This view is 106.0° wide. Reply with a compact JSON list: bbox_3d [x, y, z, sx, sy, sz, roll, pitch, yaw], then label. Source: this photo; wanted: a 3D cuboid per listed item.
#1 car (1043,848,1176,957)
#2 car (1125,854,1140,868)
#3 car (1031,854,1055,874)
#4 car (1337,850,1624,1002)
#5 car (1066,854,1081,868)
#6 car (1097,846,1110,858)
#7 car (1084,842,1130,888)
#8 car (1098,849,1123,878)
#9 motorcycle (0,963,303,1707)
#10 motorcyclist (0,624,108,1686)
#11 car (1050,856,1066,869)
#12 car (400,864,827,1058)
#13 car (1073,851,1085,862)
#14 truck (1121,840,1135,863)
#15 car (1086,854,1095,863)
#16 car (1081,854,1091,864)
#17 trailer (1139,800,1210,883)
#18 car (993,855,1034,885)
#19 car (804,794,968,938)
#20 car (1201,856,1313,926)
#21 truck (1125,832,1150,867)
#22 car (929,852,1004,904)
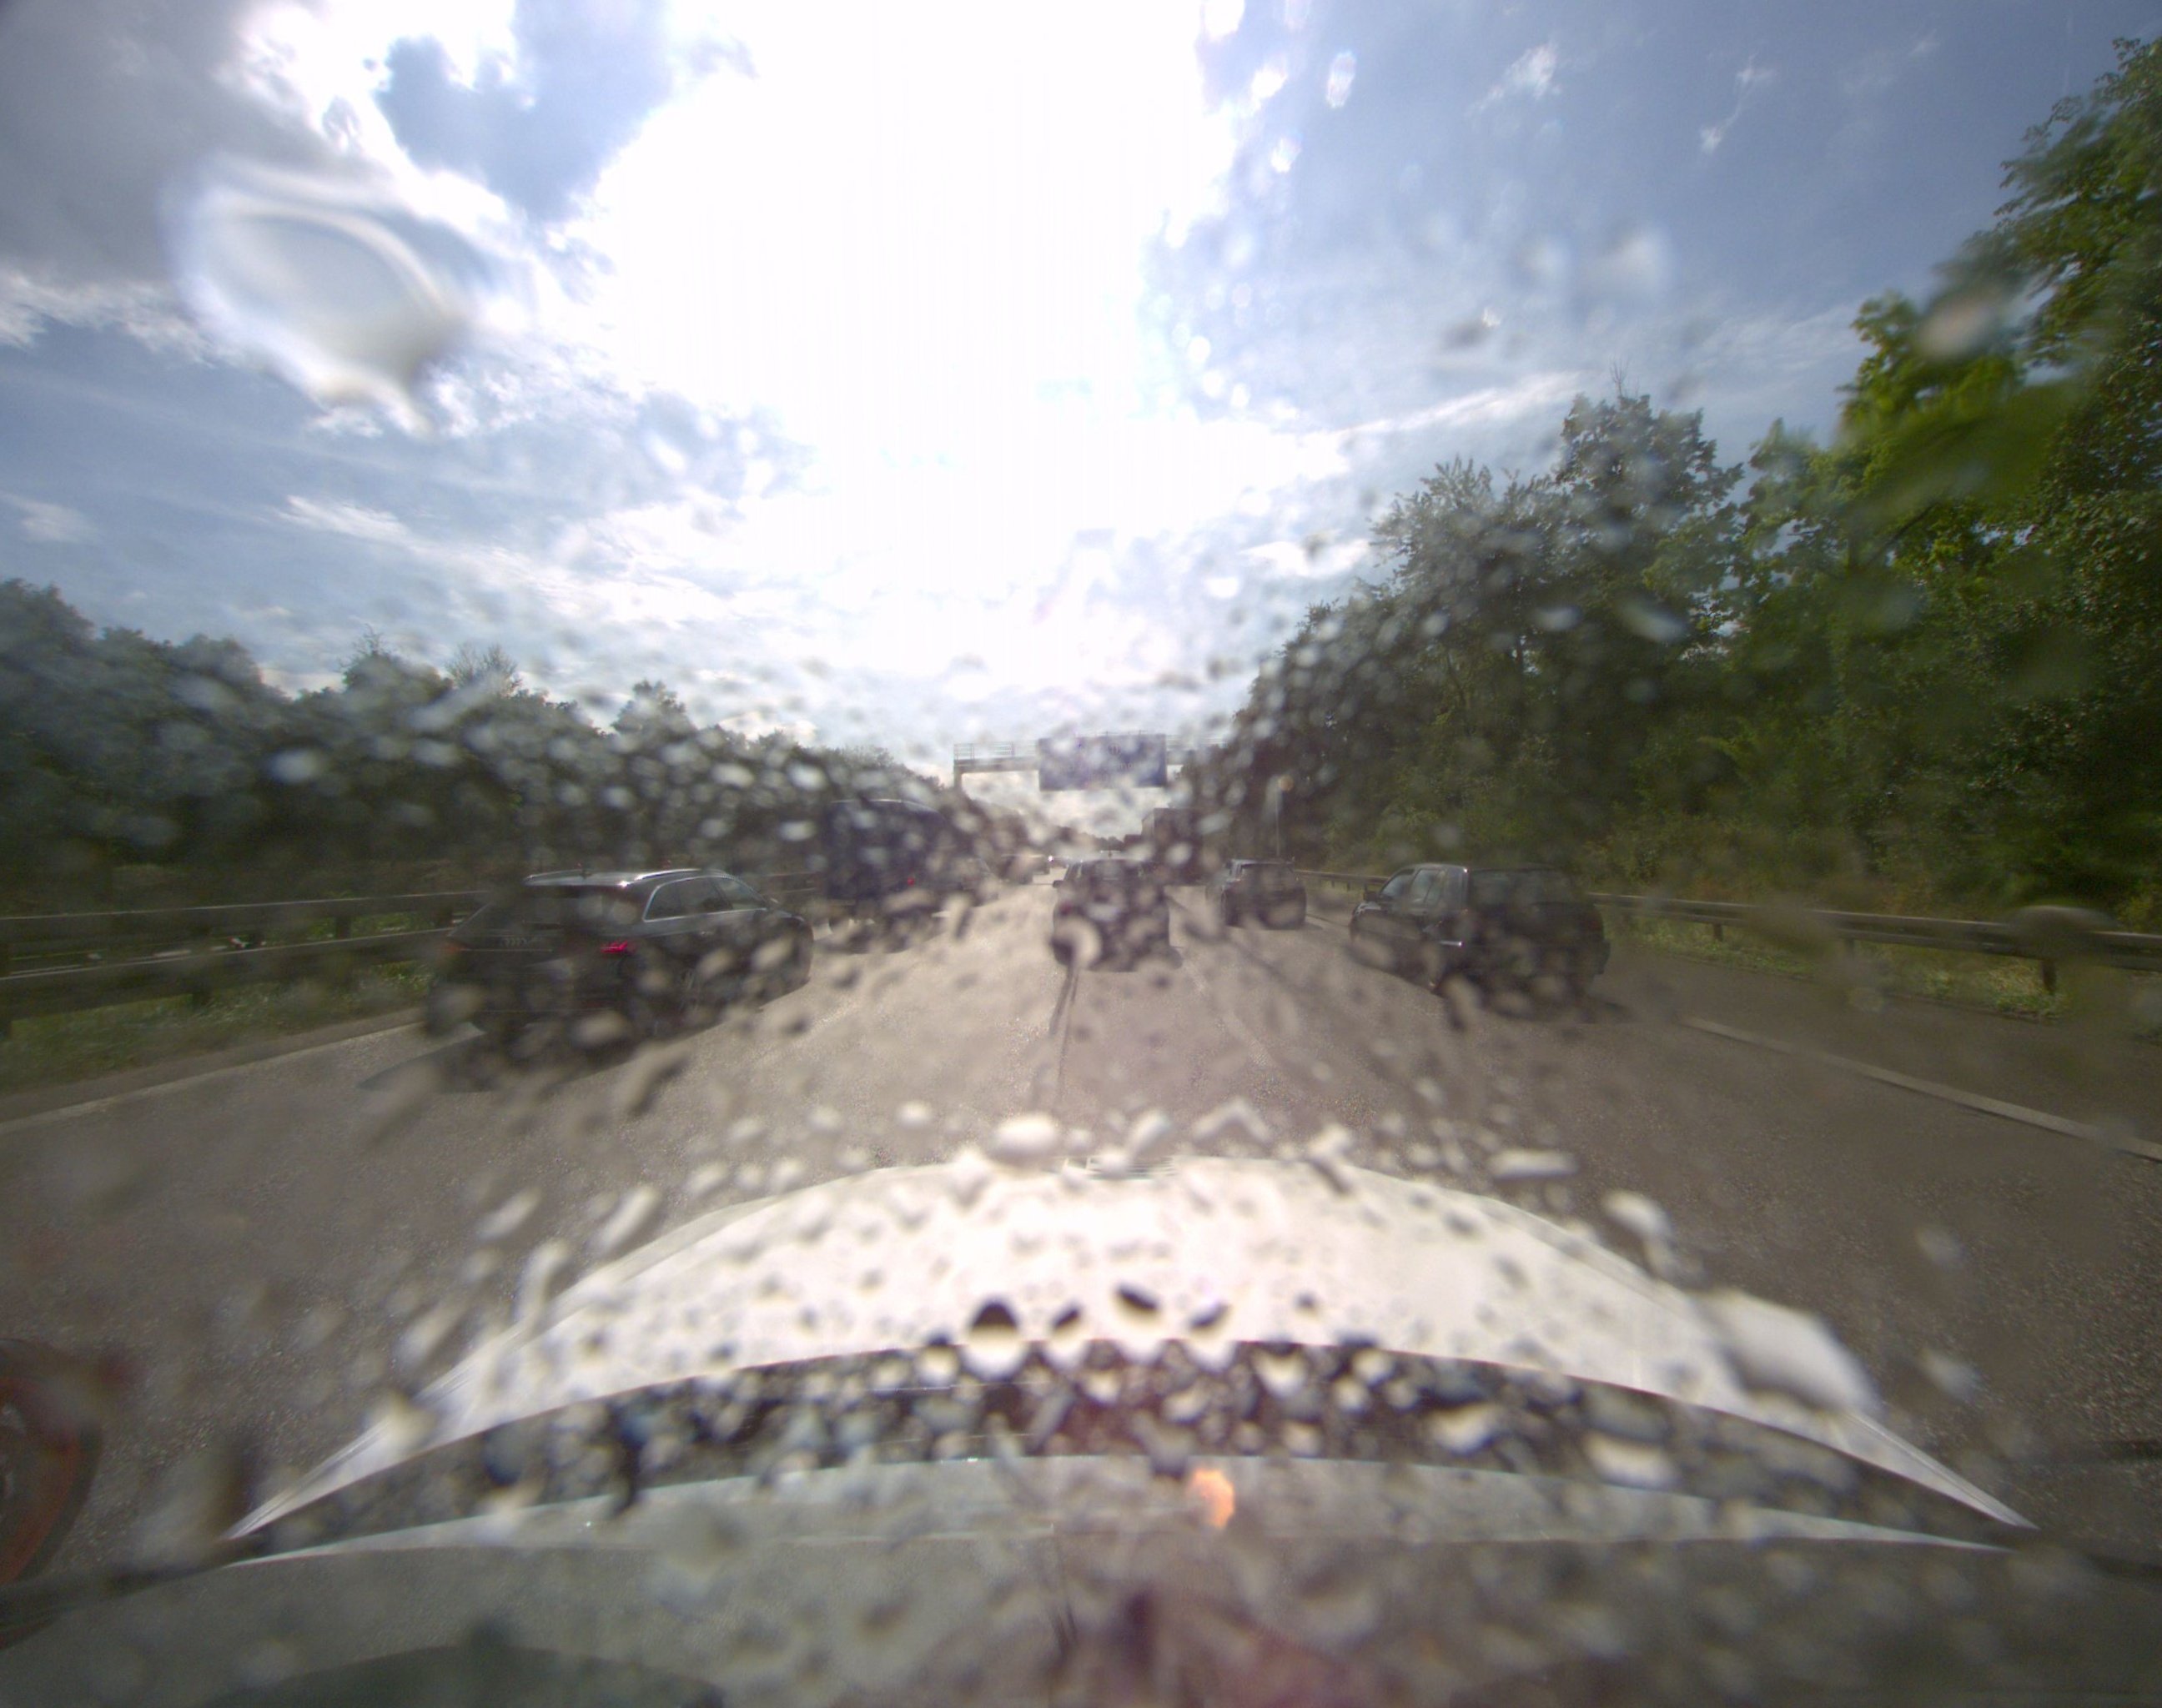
[{"bbox_3d":[0.476,0.708,13.947,1.908,1.565,4.315,-1,0,2],"label":"car"},{"bbox_3d":[5.876,0.790,93.287,1.669,1.490,3.438,-1,0,2],"label":"car"},{"bbox_3d":[-3.117,0.823,67.323,1.669,1.597,3.438,-1,0,2],"label":"car"},{"bbox_3d":[4.487,0.706,9.819,1.645,1.456,3.745,-1,0,1],"label":"car"},{"bbox_3d":[-1.099,1.095,122.028,1.986,2.014,4.001,0,-1,2],"label":"car"},{"bbox_3d":[2.787,-0.217,101.770,1.625,1.490,3.438,-1,0,2],"label":"car"},{"bbox_3d":[1.185,0.506,37.752,1.986,2.014,4.001,0,-1,1],"label":"car"},{"bbox_3d":[2.026,0.663,56.354,1.669,1.936,3.775,-1,0,2],"label":"car"},{"bbox_3d":[-2.175,0.888,0.821,0.818,1.263,2.115,0,0,-3],"label":"motorcycle"},{"bbox_3d":[-2.176,0.495,0.779,0.819,1.761,1.389,0,-1,-3],"label":"motorcyclist"},{"bbox_3d":[-2.767,1.048,97.885,1.669,1.490,3.438,-1,0,2],"label":"car"},{"bbox_3d":[-4.248,0.840,8.418,1.713,1.411,4.469,-1,0,2],"label":"car"},{"bbox_3d":[-0.336,0.500,146.503,1.986,2.014,4.001,0,-1,2],"label":"car"},{"bbox_3d":[9.858,-0.479,171.740,2.871,4.687,12.664,0,-1,2],"label":"truck"},{"bbox_3d":[2.153,1.089,190.113,1.986,2.014,4.001,0,-1,2],"label":"car"},{"bbox_3d":[1.051,0.990,169.283,1.986,2.014,4.001,0,-1,2],"label":"car"},{"bbox_3d":[5.418,-0.628,49.787,3.076,4.312,14.110,-1,0,2],"label":"trailer"},{"bbox_3d":[-3.812,0.879,46.733,1.886,1.628,4.196,-1,0,2],"label":"car"},{"bbox_3d":[-4.013,0.230,17.948,2.008,2.648,5.779,-1,0,2],"label":"car"},{"bbox_3d":[3.920,0.762,18.807,1.748,1.396,4.370,-1,0,2],"label":"car"},{"bbox_3d":[7.534,-0.540,109.581,3.189,4.404,9.438,-1,0,3],"label":"truck"},{"bbox_3d":[-3.770,0.739,27.450,1.752,1.595,4.332,-1,0,2],"label":"car"}]
